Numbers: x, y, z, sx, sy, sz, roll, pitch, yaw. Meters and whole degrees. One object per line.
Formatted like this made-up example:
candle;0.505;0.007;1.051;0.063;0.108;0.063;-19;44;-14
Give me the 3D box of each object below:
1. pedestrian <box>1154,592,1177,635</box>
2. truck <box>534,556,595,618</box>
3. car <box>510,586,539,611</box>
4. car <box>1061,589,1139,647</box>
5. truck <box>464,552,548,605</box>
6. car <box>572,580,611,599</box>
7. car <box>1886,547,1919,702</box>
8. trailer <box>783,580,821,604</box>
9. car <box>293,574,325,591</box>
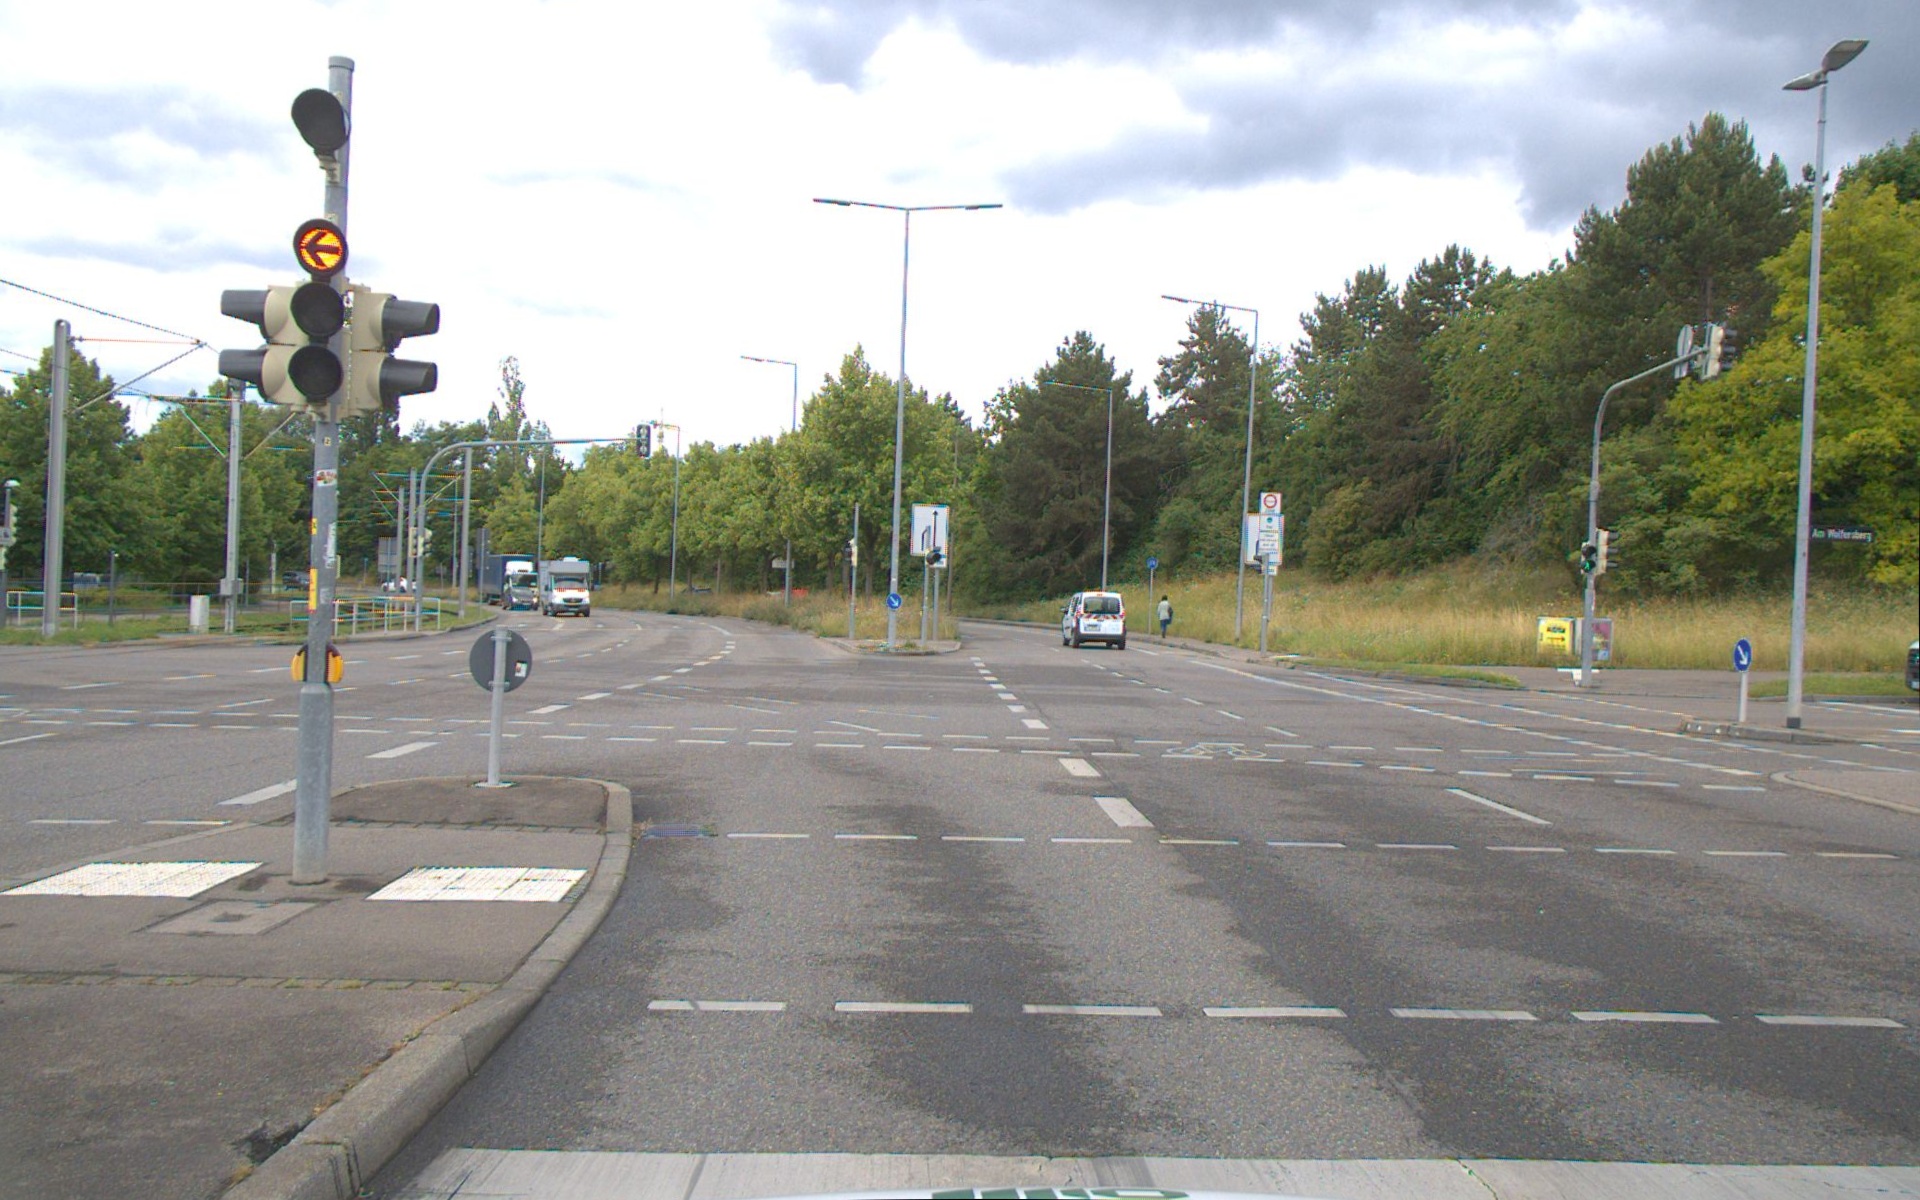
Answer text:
pedestrian;8.003;0.527;64.439;0.797;1.656;0.790;1;0;-1
truck;-21.156;-0.670;88.320;2.088;3.190;5.854;1;0;-24
car;-28.322;-0.118;107.568;1.751;1.471;4.510;0;2;-15
car;4.586;0.590;54.885;1.954;1.833;4.836;0;0;-3
truck;-34.989;-1.622;127.012;3.017;3.826;12.681;1;0;-30
car;-32.294;-0.933;144.902;1.815;1.646;3.679;1;0;-41
car;20.338;0.466;30.094;5.772;2.830;2.135;0;0;-1
trailer;-11.066;-0.571;115.763;1.741;1.644;3.022;1;0;-23
car;-62.405;-1.667;158.427;1.767;1.471;4.469;-1;3;-37
